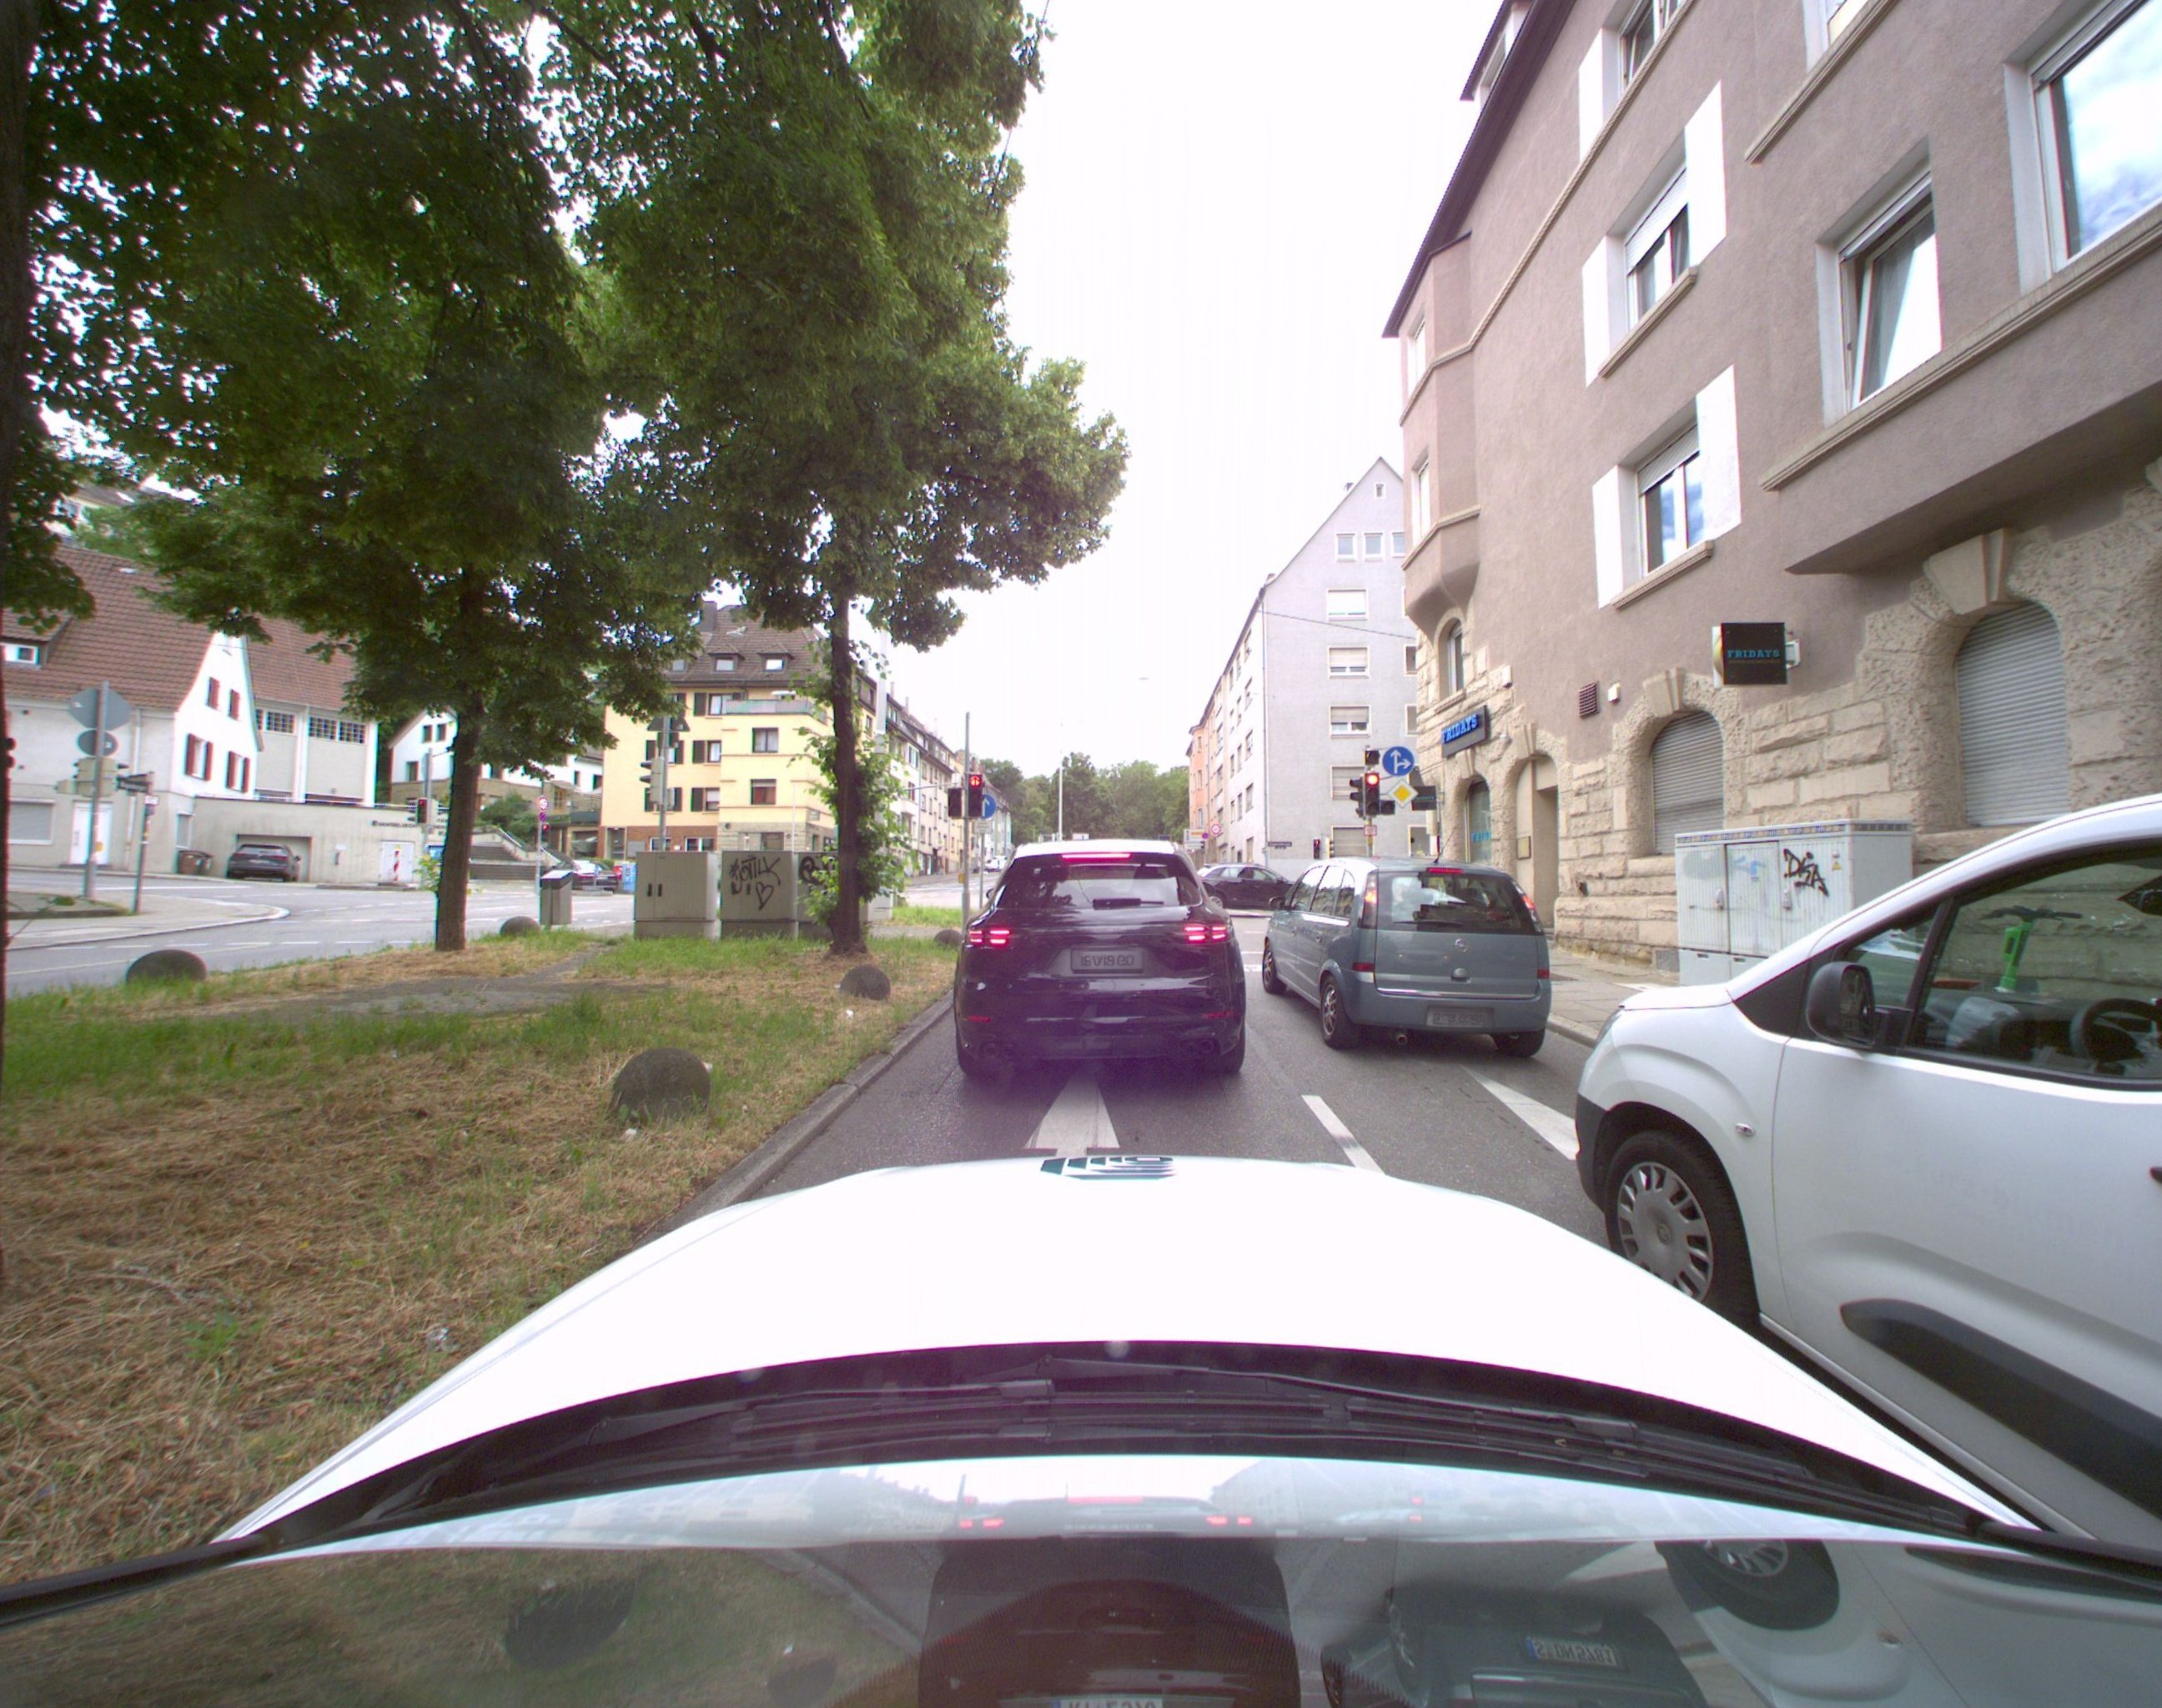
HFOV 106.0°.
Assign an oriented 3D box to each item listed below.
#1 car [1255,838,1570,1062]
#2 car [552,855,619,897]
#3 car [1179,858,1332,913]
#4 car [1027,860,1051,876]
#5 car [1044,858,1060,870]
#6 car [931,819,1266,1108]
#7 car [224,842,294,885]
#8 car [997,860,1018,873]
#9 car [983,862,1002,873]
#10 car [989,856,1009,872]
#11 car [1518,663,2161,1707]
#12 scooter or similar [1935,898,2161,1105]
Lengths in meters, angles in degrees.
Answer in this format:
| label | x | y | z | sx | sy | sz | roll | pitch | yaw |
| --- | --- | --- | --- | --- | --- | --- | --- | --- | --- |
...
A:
| label | x | y | z | sx | sy | sz | roll | pitch | yaw |
| --- | --- | --- | --- | --- | --- | --- | --- | --- | --- |
| car | 2.872 | 0.730 | 7.923 | 1.622 | 1.598 | 3.670 | 3 | 0 | 2 |
| car | -23.643 | 1.013 | 38.783 | 3.477 | 1.596 | 1.881 | 7 | 4 | 44 |
| car | 5.063 | 0.915 | 24.007 | 4.220 | 1.521 | 1.667 | 0 | -1 | 2 |
| car | -3.885 | 1.268 | 75.784 | 1.854 | 1.388 | 4.096 | 0 | 0 | 2 |
| car | -4.135 | 1.448 | 117.442 | 1.966 | 1.610 | 4.560 | 0 | 0 | 2 |
| car | 0.163 | 0.664 | 6.823 | 1.948 | 1.674 | 4.001 | -1 | -1 | 2 |
| car | -32.155 | 0.362 | 31.839 | 3.019 | 1.405 | 1.681 | 2 | -4 | 42 |
| car | -8.520 | 1.394 | 94.645 | 1.836 | 1.486 | 3.902 | 0 | 0 | 4 |
| car | -10.841 | 1.640 | 99.459 | 1.732 | 1.387 | 3.815 | 0 | 0 | 2 |
| car | -10.559 | 1.319 | 105.103 | 2.008 | 2.045 | 4.669 | 0 | -1 | 2 |
| car | 2.807 | 0.603 | 1.030 | 1.969 | 1.775 | 4.676 | 3 | 0 | 0 |
| scooter or similar | 6.410 | 0.869 | 5.172 | 0.524 | 1.104 | 1.424 | -1 | -1 | 4 |
